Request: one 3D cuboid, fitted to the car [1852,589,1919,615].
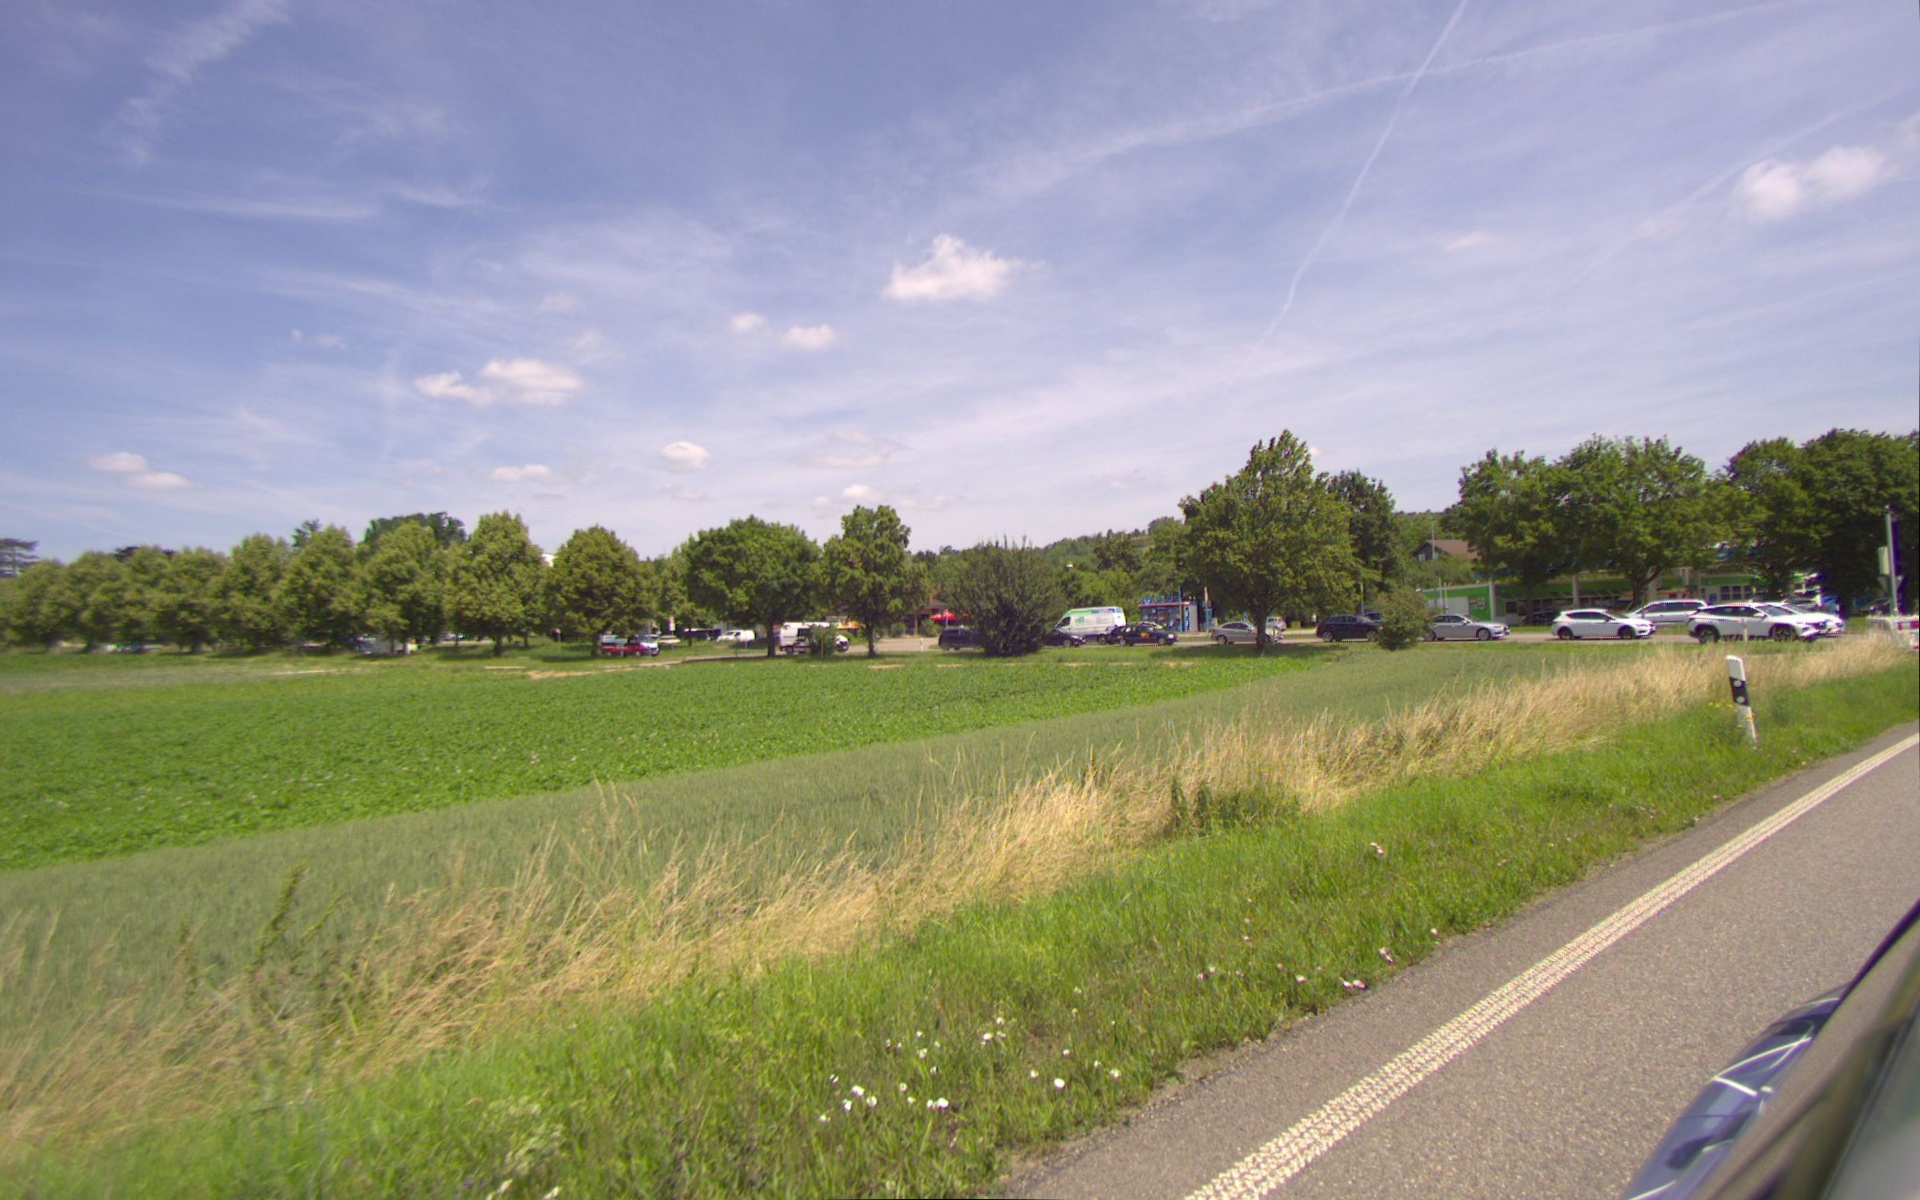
[{"bbox_3d":[66.671,0.150,71.998,4.544,1.642,1.999,-3,0,2],"label":"car"}]

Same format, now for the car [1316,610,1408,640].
[{"bbox_3d":[22.943,1.407,57.900,1.772,1.529,4.549,-3,1,-44],"label":"car"}]

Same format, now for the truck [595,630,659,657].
[{"bbox_3d":[-28.331,3.706,86.107,5.415,2.001,1.786,-3,-1,25],"label":"truck"}]

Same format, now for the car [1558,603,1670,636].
[{"bbox_3d":[31.037,0.926,48.122,1.769,1.437,4.101,-3,0,-38],"label":"car"}]

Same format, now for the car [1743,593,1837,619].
[{"bbox_3d":[59.168,0.432,72.193,4.849,1.623,2.038,-3,0,2],"label":"car"}]

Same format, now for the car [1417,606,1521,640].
[{"bbox_3d":[26.868,1.218,53.537,1.773,1.529,4.547,-4,0,-45],"label":"car"}]

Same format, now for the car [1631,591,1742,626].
[{"bbox_3d":[38.885,0.455,54.328,4.477,1.713,1.851,-2,0,25],"label":"car"}]

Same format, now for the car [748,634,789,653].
[{"bbox_3d":[-19.928,4.513,105.193,3.968,1.847,1.803,-3,-1,32],"label":"car"}]

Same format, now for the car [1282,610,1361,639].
[{"bbox_3d":[23.301,1.601,65.321,4.488,1.713,1.847,-2,0,31],"label":"car"}]

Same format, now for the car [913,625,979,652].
[{"bbox_3d":[-1.022,2.734,72.629,4.254,1.719,1.979,-3,-1,30],"label":"car"}]

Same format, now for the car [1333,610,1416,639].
[{"bbox_3d":[25.102,1.492,61.374,4.355,1.579,1.763,-3,-2,33],"label":"car"}]

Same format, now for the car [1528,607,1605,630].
[{"bbox_3d":[42.586,1.291,71.128,4.258,1.380,1.752,-3,0,15],"label":"car"}]

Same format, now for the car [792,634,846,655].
[{"bbox_3d":[-12.535,3.960,90.071,4.421,1.579,1.875,-3,0,-39],"label":"car"}]

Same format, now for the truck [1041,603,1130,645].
[{"bbox_3d":[8.836,1.690,71.640,5.891,2.771,2.052,-2,1,30],"label":"truck"}]

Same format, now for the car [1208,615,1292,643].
[{"bbox_3d":[17.623,1.777,61.518,4.531,1.529,1.778,-3,-1,35],"label":"car"}]

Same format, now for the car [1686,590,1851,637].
[{"bbox_3d":[31.949,0.567,40.168,1.958,1.627,4.647,-4,-1,-26],"label":"car"}]

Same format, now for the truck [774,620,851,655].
[{"bbox_3d":[-11.385,2.916,77.950,5.575,2.396,2.037,-3,-1,24],"label":"truck"}]

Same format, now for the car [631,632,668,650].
[{"bbox_3d":[-35.200,4.592,114.640,3.968,1.847,1.803,-3,-1,32],"label":"car"}]

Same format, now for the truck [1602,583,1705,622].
[{"bbox_3d":[52.310,0.218,76.414,6.033,2.652,2.262,-2,-1,1],"label":"truck"}]

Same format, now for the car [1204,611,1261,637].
[{"bbox_3d":[21.431,1.932,79.664,3.970,1.847,1.802,-3,-1,33],"label":"car"}]

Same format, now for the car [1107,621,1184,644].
[{"bbox_3d":[12.024,2.095,65.644,4.521,1.289,1.782,-3,-1,30],"label":"car"}]

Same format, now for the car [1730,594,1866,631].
[{"bbox_3d":[35.256,0.550,42.697,1.791,1.437,3.977,-3,0,-27],"label":"car"}]

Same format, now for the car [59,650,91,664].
[{"bbox_3d":[-120.158,7.763,137.435,3.960,1.670,1.982,-3,-1,27],"label":"car"}]

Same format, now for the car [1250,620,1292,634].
[{"bbox_3d":[31.884,2.765,103.764,3.812,1.398,1.708,-3,-2,33],"label":"car"}]

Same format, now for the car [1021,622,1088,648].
[{"bbox_3d":[6.423,2.389,68.896,4.191,1.529,1.784,-3,-1,27],"label":"car"}]
